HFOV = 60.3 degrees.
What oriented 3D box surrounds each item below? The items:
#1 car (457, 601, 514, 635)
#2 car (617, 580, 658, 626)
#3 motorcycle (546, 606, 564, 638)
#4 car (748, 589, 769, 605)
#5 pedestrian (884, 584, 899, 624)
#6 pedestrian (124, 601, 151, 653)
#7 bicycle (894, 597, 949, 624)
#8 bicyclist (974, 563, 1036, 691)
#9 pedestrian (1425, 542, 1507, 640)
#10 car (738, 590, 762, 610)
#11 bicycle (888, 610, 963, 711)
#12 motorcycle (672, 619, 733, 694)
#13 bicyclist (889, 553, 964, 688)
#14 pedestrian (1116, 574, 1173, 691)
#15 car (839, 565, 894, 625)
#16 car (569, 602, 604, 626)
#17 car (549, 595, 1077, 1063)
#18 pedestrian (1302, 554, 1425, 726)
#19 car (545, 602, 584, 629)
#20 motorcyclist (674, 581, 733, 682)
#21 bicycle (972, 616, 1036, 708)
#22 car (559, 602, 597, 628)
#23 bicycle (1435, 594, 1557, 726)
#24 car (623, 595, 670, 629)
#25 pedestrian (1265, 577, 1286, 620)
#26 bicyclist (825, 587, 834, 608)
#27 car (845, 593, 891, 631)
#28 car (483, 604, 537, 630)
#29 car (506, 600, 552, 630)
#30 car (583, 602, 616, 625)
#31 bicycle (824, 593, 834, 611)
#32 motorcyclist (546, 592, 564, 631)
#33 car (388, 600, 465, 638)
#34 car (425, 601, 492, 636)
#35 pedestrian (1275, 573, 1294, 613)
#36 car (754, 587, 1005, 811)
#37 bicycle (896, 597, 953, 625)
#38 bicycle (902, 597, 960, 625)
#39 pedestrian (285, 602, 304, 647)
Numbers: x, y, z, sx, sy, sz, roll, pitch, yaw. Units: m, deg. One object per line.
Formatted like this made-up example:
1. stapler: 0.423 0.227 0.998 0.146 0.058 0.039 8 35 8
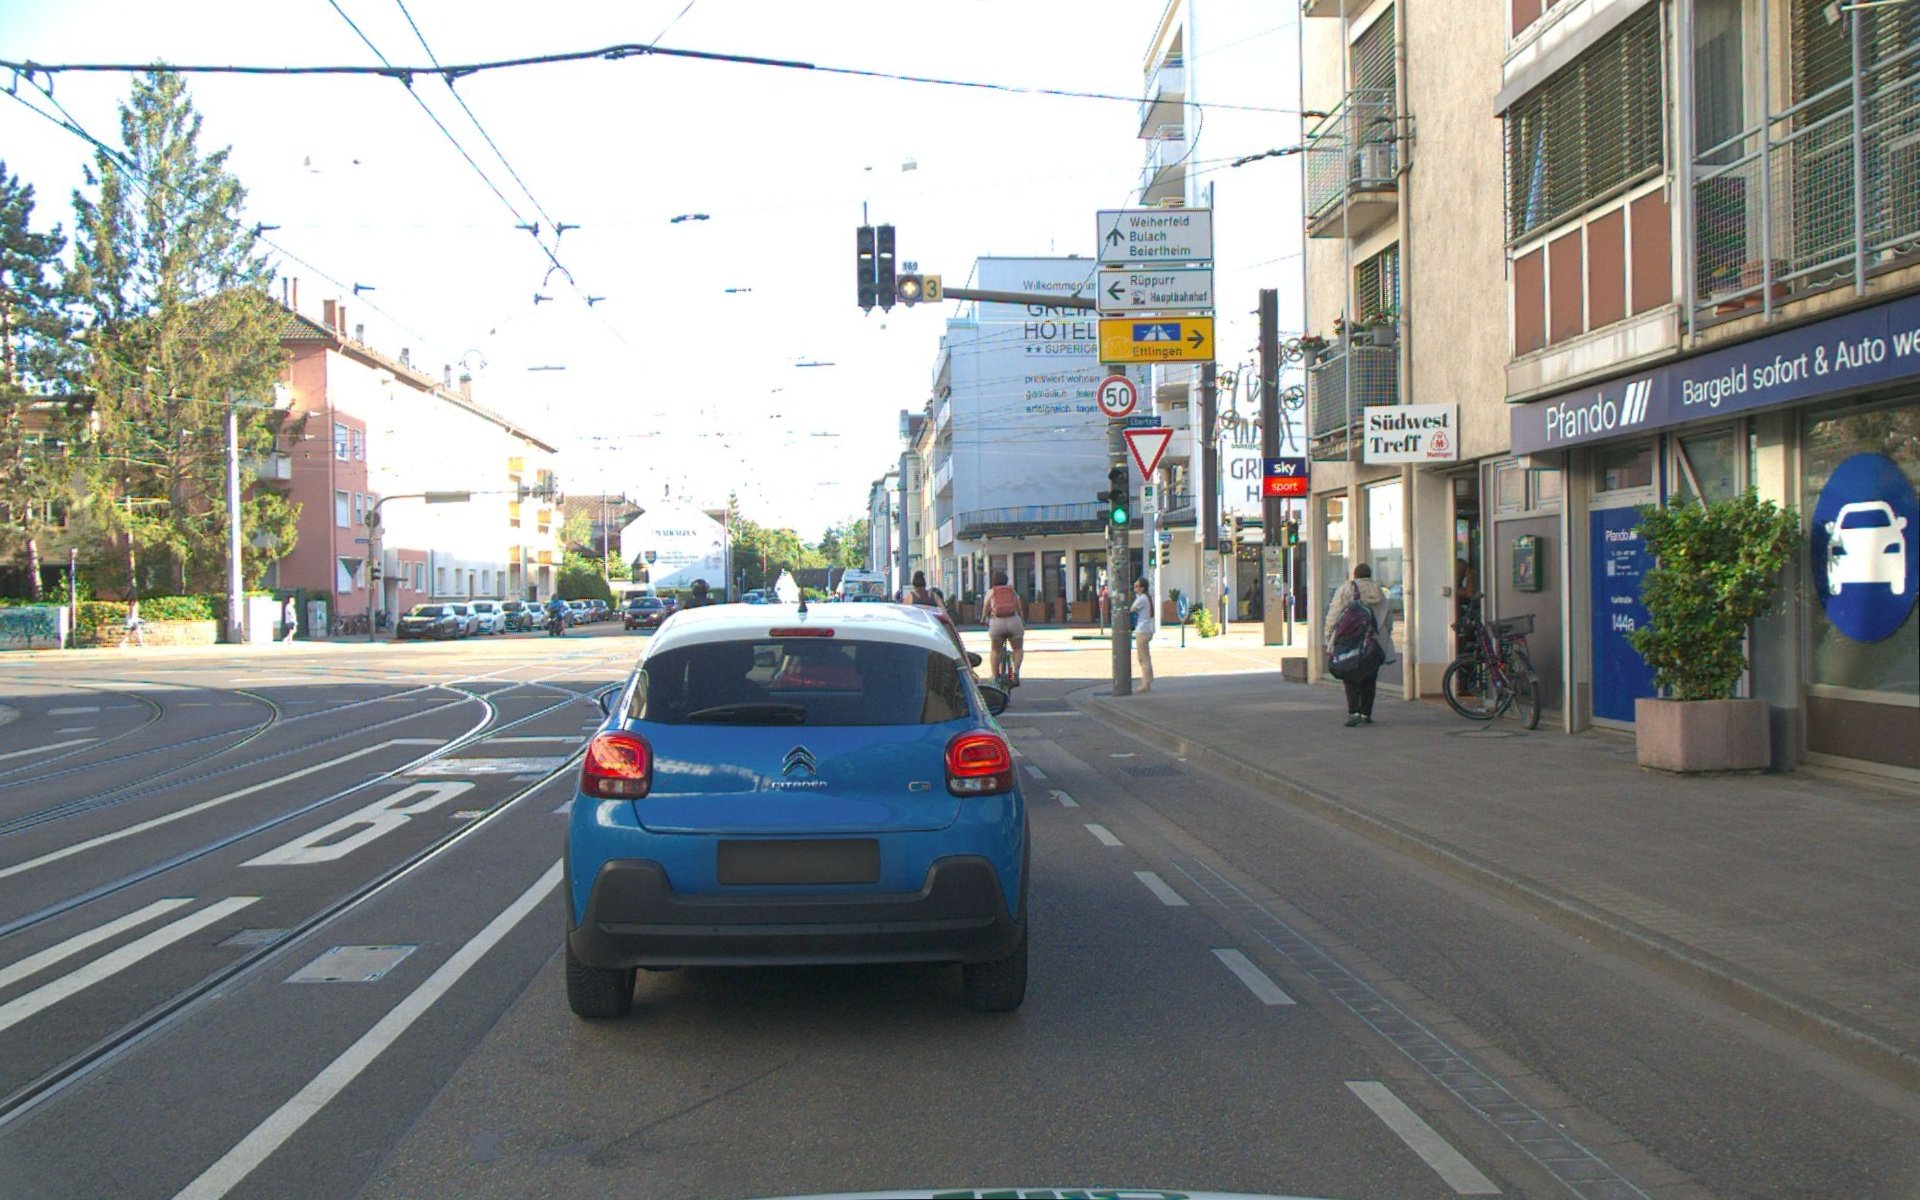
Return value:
1. car: -22.620 0.860 78.968 1.707 1.553 4.226 1 0 -4
2. car: -23.121 0.240 118.658 2.370 3.197 3.486 1 0 -4
3. motorcycle: -16.334 0.891 66.712 0.700 1.241 1.958 -1 -2 -14
4. car: -22.851 -0.317 187.484 2.033 1.793 5.032 1 0 -4
5. pedestrian: -2.891 0.166 69.594 0.600 1.683 0.671 1 -1 -2
6. pedestrian: -27.998 0.916 56.299 0.771 1.752 0.699 1 -1 -24
7. bicycle: -1.598 0.447 68.255 2.208 1.019 0.855 -2 0 -6
8. bicyclist: 0.636 0.366 22.994 0.794 1.721 0.935 1 0 4
9. pedestrian: 5.910 -0.106 19.317 0.618 1.106 0.670 -2 1 -38
10. car: -21.513 0.031 169.596 2.174 1.965 4.945 1 0 -4
11. bicycle: -0.465 0.761 21.651 0.921 1.245 2.094 1 0 -2
12. motorcycle: -3.887 0.837 25.071 0.839 1.065 1.939 1 0 -7
13. bicyclist: -0.445 0.267 21.638 0.921 1.702 1.079 1 0 -2
14. pedestrian: 2.702 0.472 24.199 0.528 1.652 0.733 -5 -2 21
15. car: -4.148 -0.212 72.756 2.221 2.525 5.002 0 0 -5
16. car: -25.323 0.952 112.279 1.833 1.604 3.995 1 0 -6
17. car: -0.683 0.725 7.163 1.703 1.478 3.656 0 0 -7
18. pedestrian: 3.997 0.379 16.431 0.868 1.619 0.809 -3 1 -9
19. car: -24.413 0.926 102.153 1.833 1.604 3.995 1 0 -6
20. motorcyclist: -3.924 0.484 25.342 0.839 1.514 0.728 1 -1 -8
21. bicycle: 0.633 0.835 23.069 0.794 1.202 2.065 1 0 4
22. car: -24.703 0.942 107.089 1.833 1.604 3.995 1 0 -6
23. bicycle: 5.096 0.547 15.827 0.486 1.182 1.776 -1 0 -4
24. car: -14.379 0.546 76.056 1.744 1.512 3.824 -1 0 -5
25. pedestrian: 12.190 -0.059 63.931 0.598 1.636 0.668 1 -1 27
26. bicyclist: -12.734 -0.252 161.174 0.774 2.060 0.986 1 -1 0
27. car: -3.796 0.485 67.771 1.626 1.456 3.882 1 0 -7
28. car: -23.273 0.870 85.703 1.909 1.261 4.278 1 0 -5
29. car: -23.852 0.812 91.693 1.833 1.604 3.995 1 0 -6
30. car: -25.805 0.970 118.511 1.833 1.604 3.995 1 0 -6
31. bicycle: -12.740 0.169 161.168 0.774 1.699 2.230 1 0 1
32. motorcyclist: -16.353 0.463 66.799 0.681 1.523 0.682 -1 -2 -14
33. car: -22.101 0.821 68.703 2.112 1.457 4.435 1 -2 -5
34. car: -22.458 0.811 74.224 1.865 1.462 4.100 1 0 -3
35. pedestrian: 13.107 -0.281 66.839 0.597 1.636 0.669 1 -1 22
36. car: -0.738 0.694 13.587 1.750 1.548 3.758 1 1 -5
37. bicycle: -1.436 0.440 67.142 2.208 1.019 0.855 -2 0 -6
38. bicycle: -1.147 0.449 65.779 2.208 1.019 0.855 -2 0 -6
39. pedestrian: -23.686 0.863 58.862 0.512 1.596 0.566 1 -1 -36
